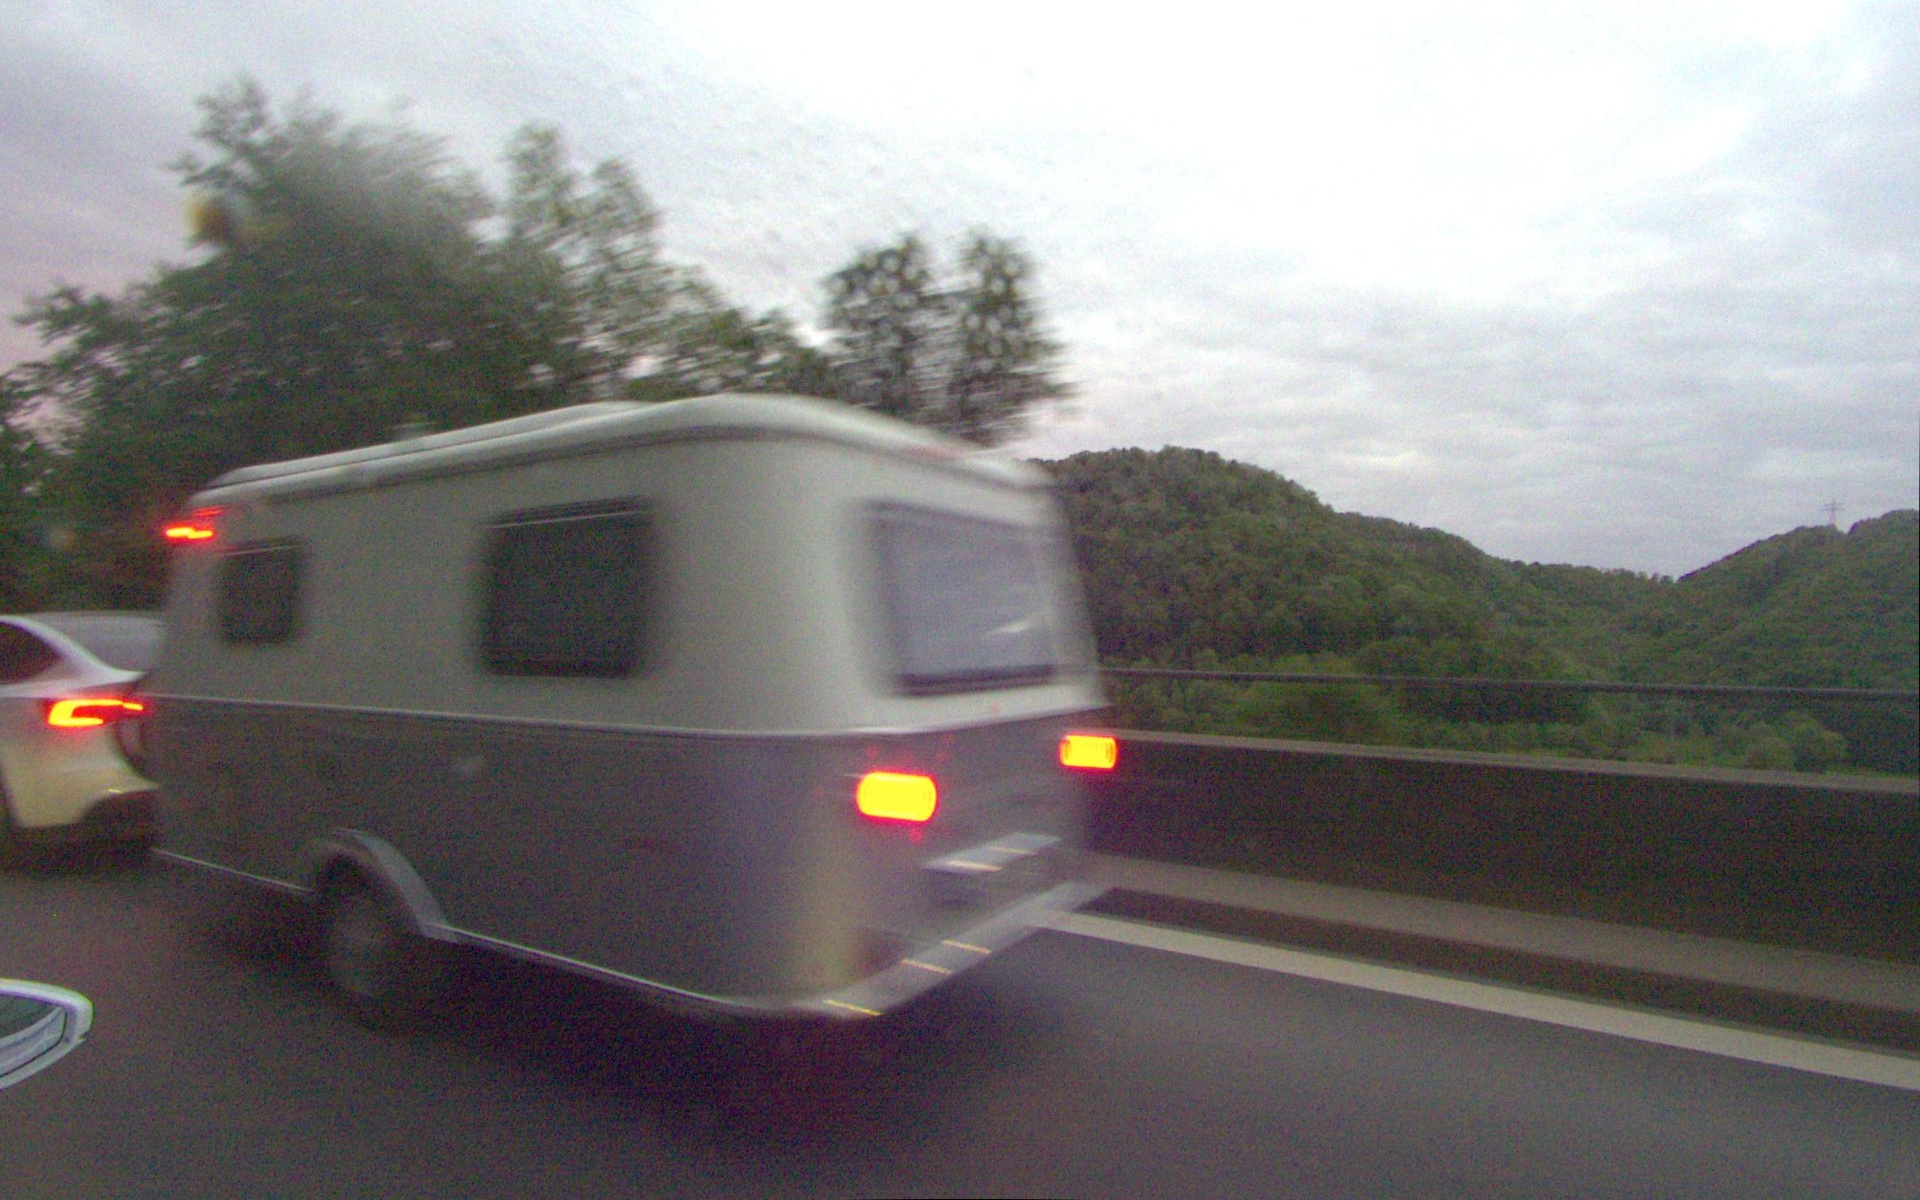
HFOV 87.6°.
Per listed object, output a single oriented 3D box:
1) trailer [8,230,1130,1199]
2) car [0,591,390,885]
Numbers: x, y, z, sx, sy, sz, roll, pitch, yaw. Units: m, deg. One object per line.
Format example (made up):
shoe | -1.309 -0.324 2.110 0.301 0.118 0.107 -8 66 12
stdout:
trailer | -2.302 0.391 4.875 5.854 2.405 2.051 -1 -3 33
car | -6.691 0.844 7.736 4.796 1.635 1.990 -1 -2 33
